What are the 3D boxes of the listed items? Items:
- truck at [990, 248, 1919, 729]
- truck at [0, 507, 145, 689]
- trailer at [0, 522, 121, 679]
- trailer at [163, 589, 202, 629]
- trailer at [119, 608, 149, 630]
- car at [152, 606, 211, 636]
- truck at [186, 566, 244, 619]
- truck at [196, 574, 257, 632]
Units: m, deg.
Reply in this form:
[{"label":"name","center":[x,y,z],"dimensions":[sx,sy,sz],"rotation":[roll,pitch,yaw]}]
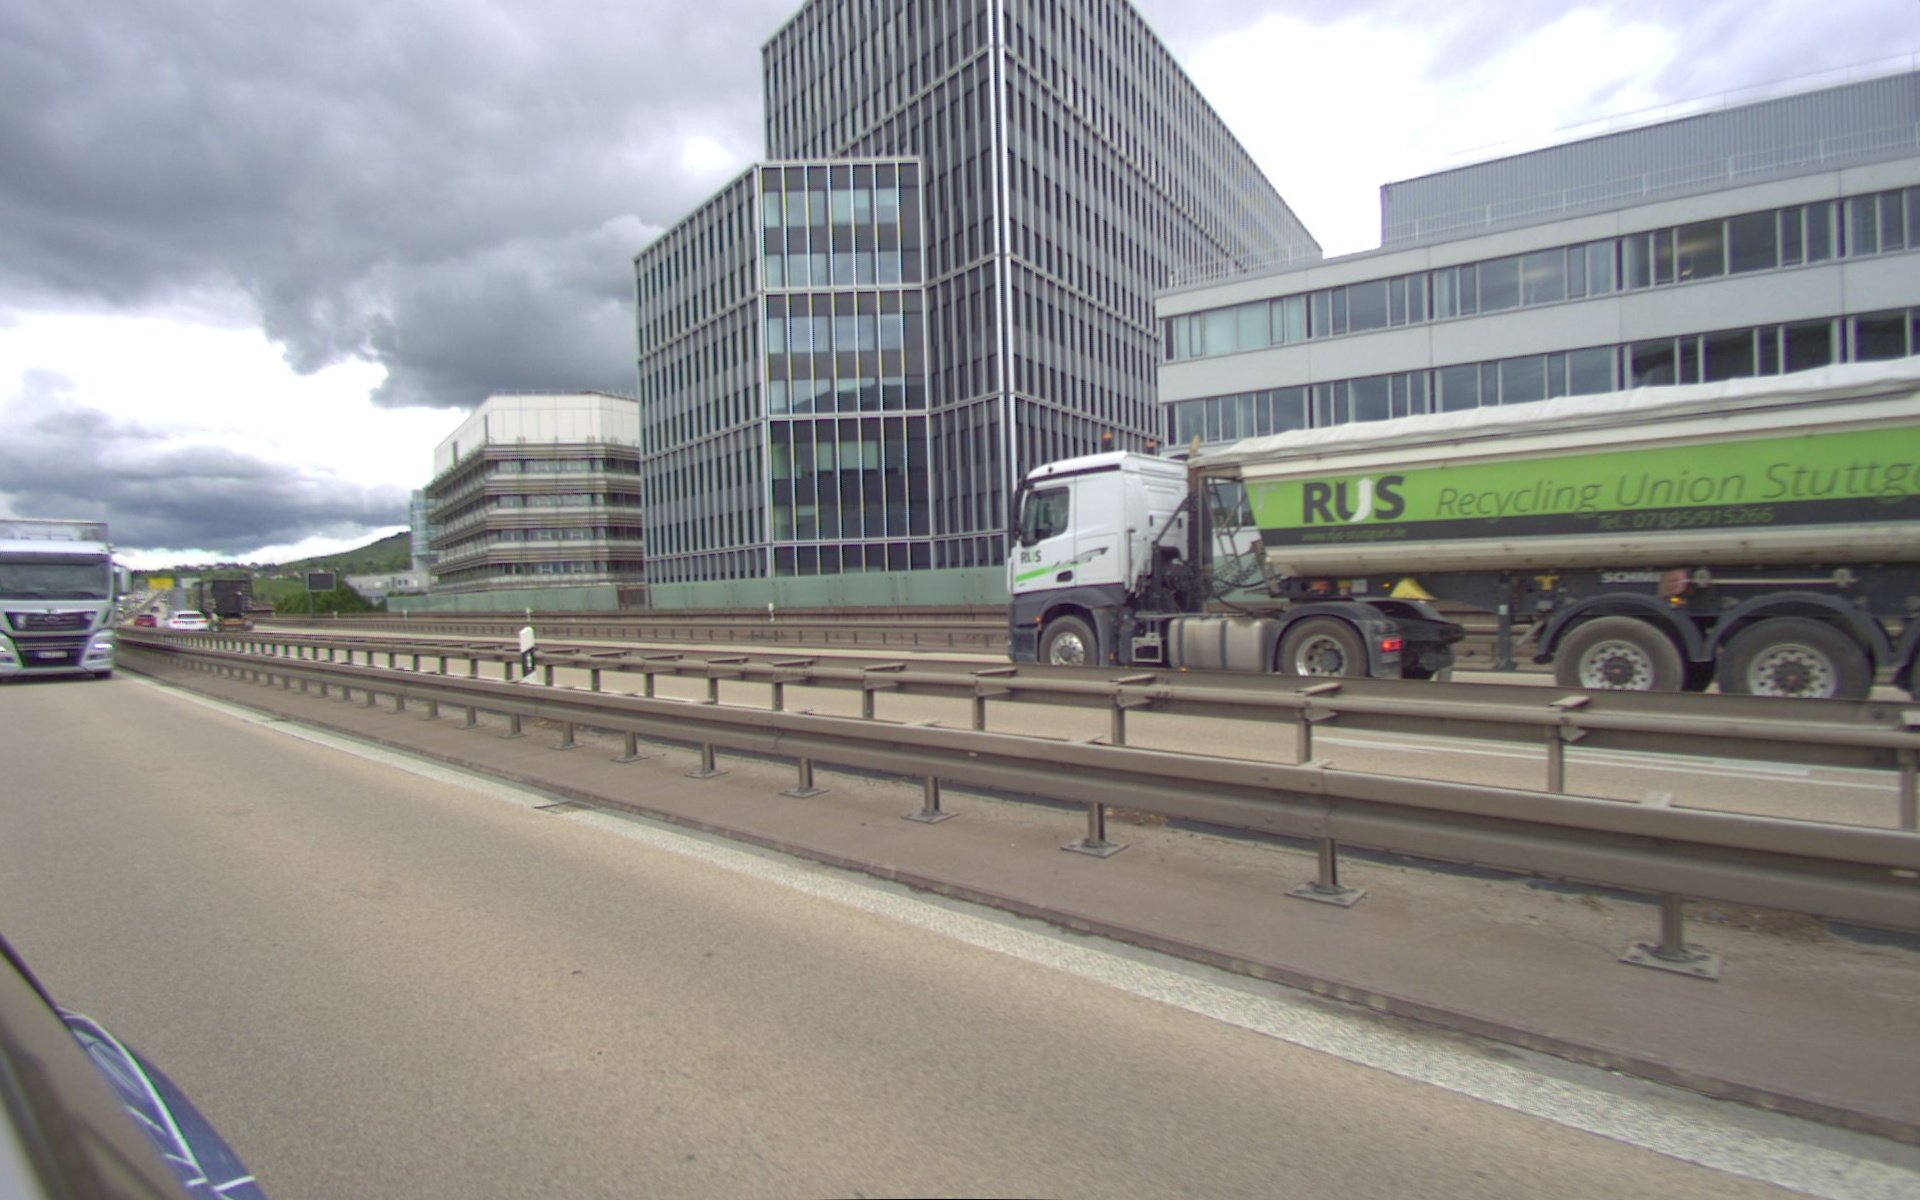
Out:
[{"label":"truck","center":[6.007,-0.867,11.645],"dimensions":[12.521,3.805,3.023],"rotation":[-1,0,44]},{"label":"truck","center":[-22.762,-0.054,25.246],"dimensions":[3.099,4.067,5.692],"rotation":[-3,1,-45]},{"label":"trailer","center":[-28.237,0.039,30.832],"dimensions":[3.145,4.056,11.774],"rotation":[-3,1,-44]},{"label":"trailer","center":[-83.743,0.842,108.975],"dimensions":[2.809,4.017,11.905],"rotation":[-1,1,-40]},{"label":"trailer","center":[-79.537,1.826,97.478],"dimensions":[1.970,2.029,4.004],"rotation":[-1,0,-43]},{"label":"car","center":[-44.732,1.156,58.119],"dimensions":[4.808,1.618,1.972],"rotation":[0,0,43]},{"label":"truck","center":[-62.076,-0.562,84.214],"dimensions":[3.019,4.096,11.875],"rotation":[-1,0,-40]},{"label":"truck","center":[-55.308,0.245,76.231],"dimensions":[3.019,4.096,8.677],"rotation":[-1,0,-40]}]
